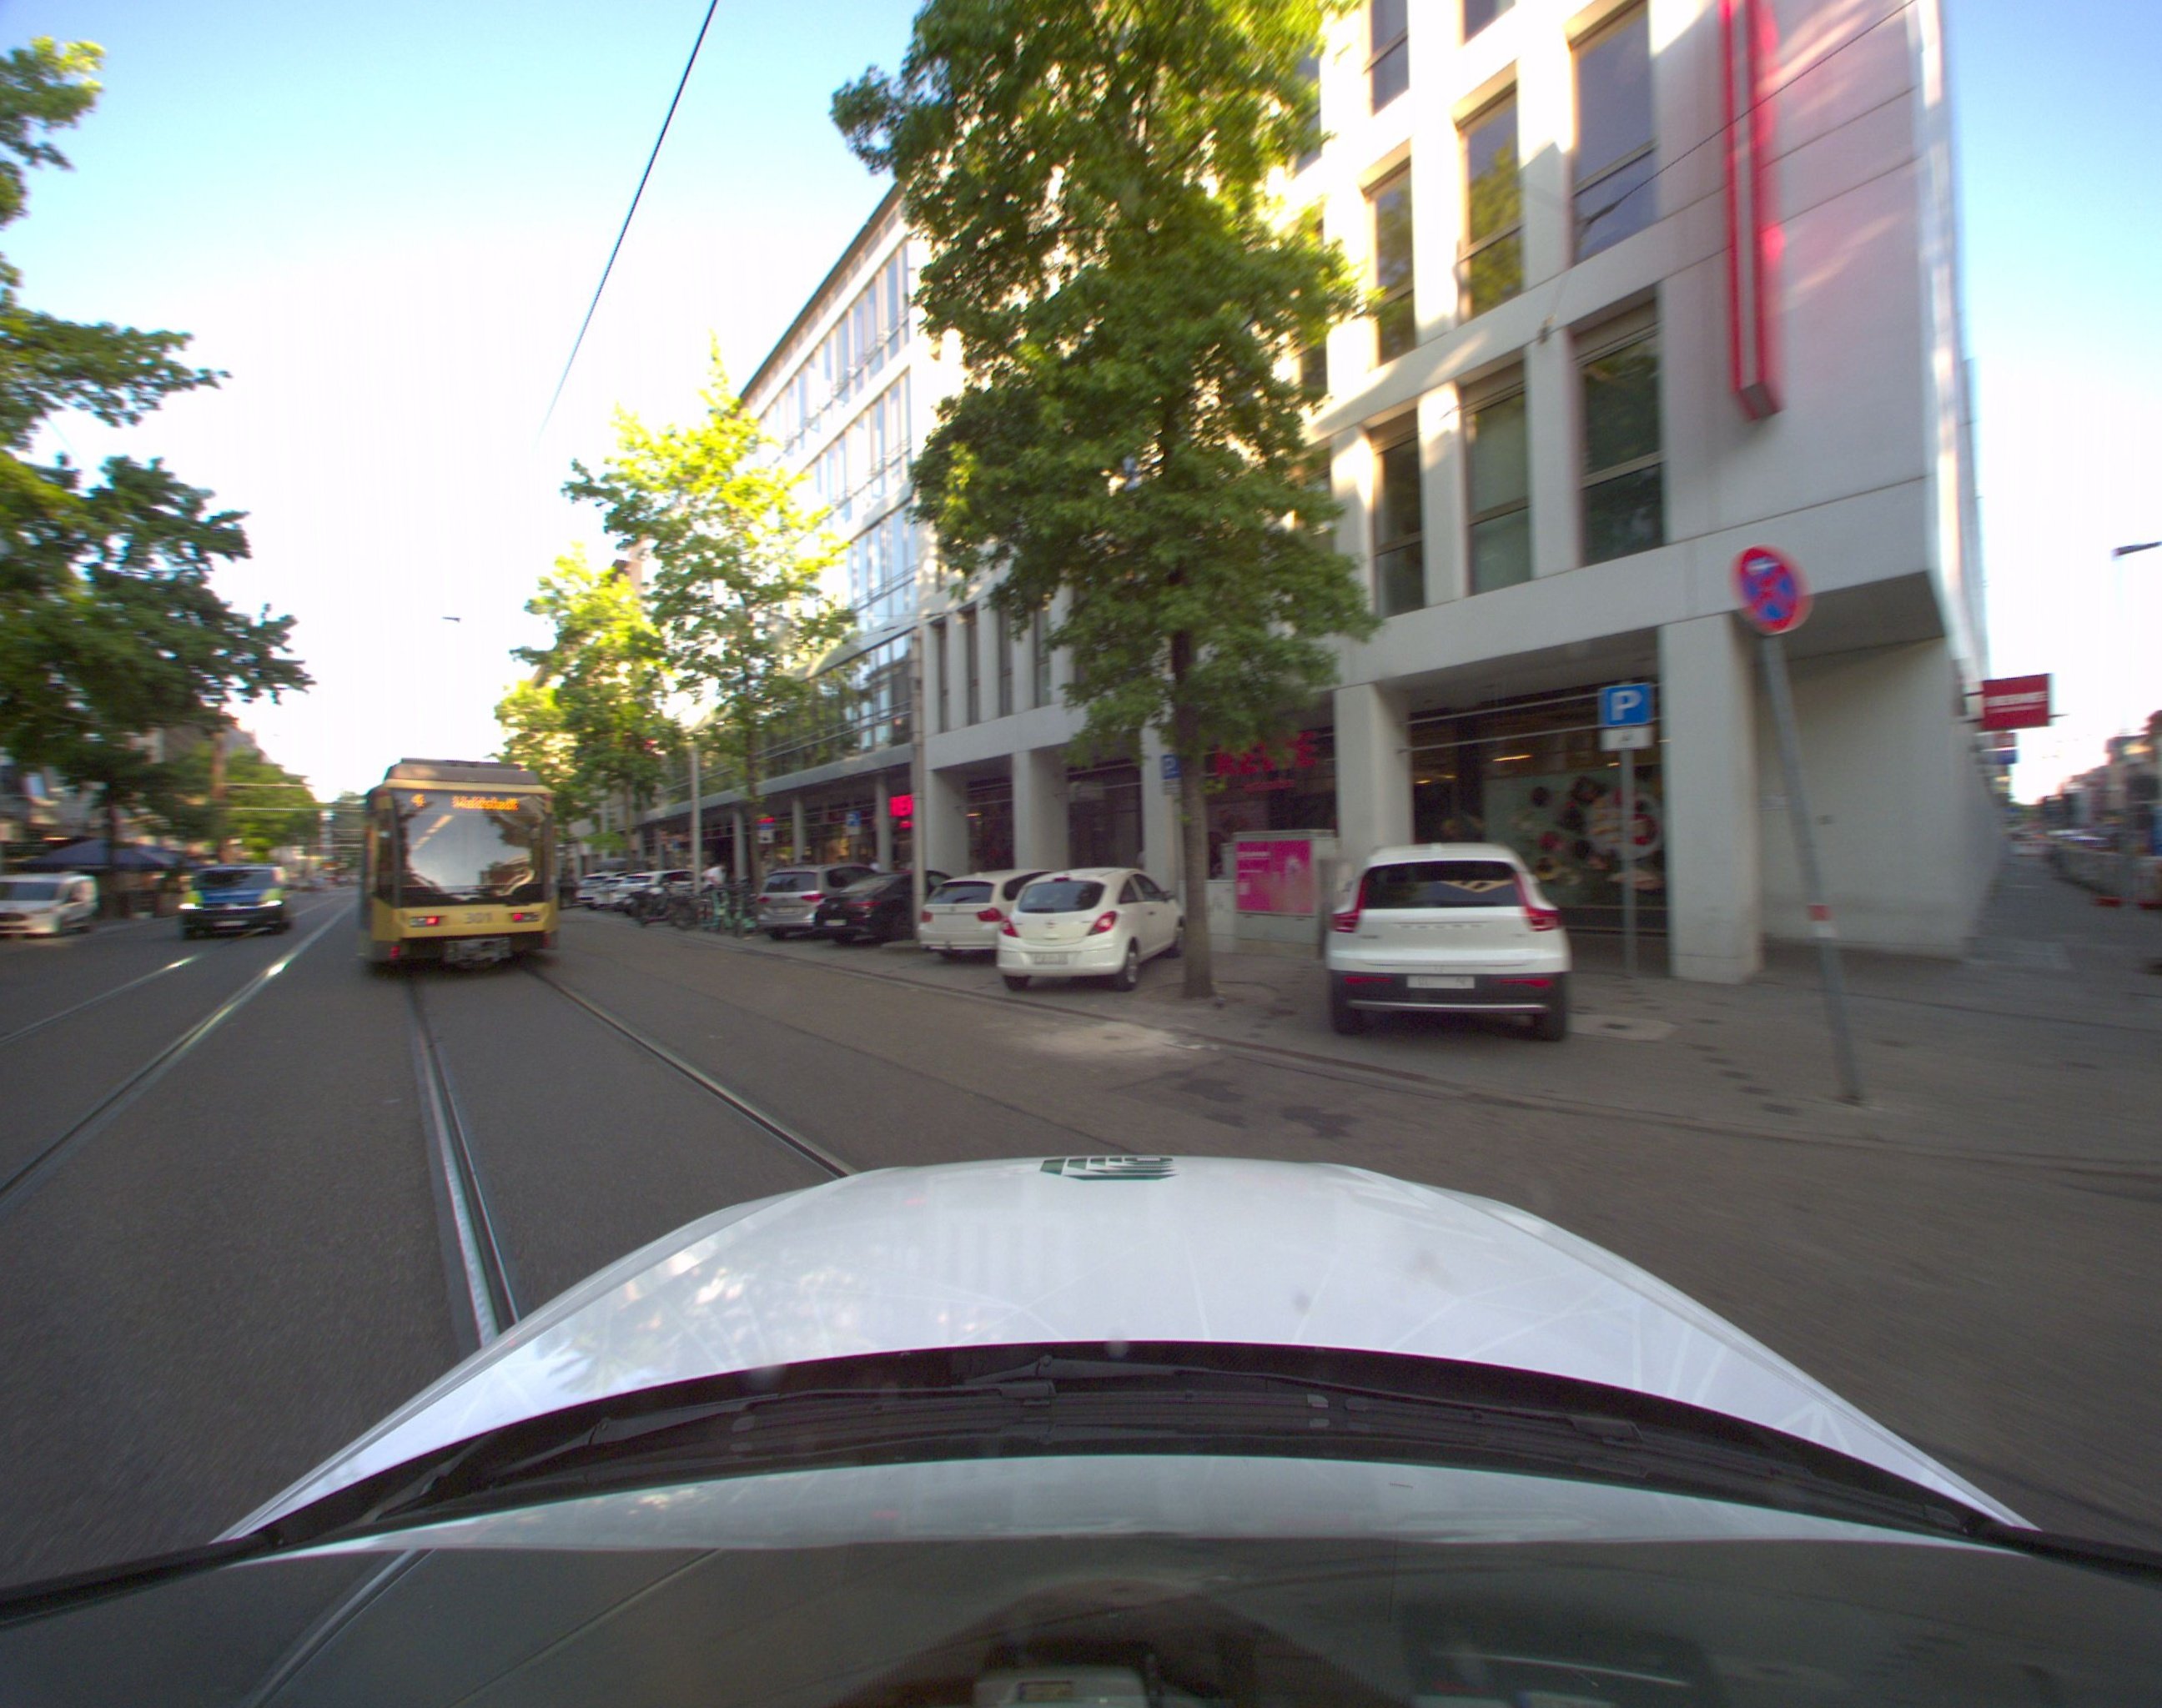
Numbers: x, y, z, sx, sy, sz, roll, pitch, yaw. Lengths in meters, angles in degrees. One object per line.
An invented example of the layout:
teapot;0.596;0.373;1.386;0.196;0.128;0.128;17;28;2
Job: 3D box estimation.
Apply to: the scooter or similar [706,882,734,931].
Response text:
scooter or similar;-9.584;1.363;21.603;0.571;1.205;1.270;-3;1;-27

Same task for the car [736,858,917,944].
car;-5.881;1.019;19.559;1.935;1.639;4.693;-3;1;14

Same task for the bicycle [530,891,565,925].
bicycle;-17.896;1.789;27.303;0.661;1.061;2.032;2;-3;-41

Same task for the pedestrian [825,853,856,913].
pedestrian;-7.550;0.892;25.599;0.663;1.812;0.709;-3;1;-37

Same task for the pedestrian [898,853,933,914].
pedestrian;-4.880;0.845;24.033;0.686;1.771;0.796;0;-1;-42

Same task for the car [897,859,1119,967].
car;-1.093;0.932;14.562;1.806;1.422;4.377;-2;1;27

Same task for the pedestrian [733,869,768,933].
pedestrian;-8.794;1.228;21.687;0.793;1.625;0.763;-3;0;-23

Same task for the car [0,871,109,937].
car;-30.911;1.453;24.175;1.809;1.818;4.463;2;-3;-39

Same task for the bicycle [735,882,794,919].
bicycle;-10.431;1.508;26.909;0.815;1.094;1.842;-2;0;18

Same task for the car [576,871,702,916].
car;-18.191;1.586;33.742;1.841;1.457;4.210;-3;1;26

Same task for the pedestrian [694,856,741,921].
pedestrian;-11.379;1.063;25.531;0.851;1.913;0.958;-1;2;37

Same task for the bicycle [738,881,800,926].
bicycle;-9.202;1.444;24.058;0.495;1.149;1.707;-1;1;33

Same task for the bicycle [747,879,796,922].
bicycle;-9.545;1.420;25.192;0.549;1.189;1.701;-2;1;11

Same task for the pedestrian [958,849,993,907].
pedestrian;-3.172;0.717;24.481;0.686;1.699;0.796;0;-1;-42

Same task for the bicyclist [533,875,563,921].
bicyclist;-17.866;1.460;27.284;0.733;1.527;0.724;2;-4;-41

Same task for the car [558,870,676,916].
car;-20.128;1.652;35.559;1.900;1.637;4.227;-2;1;17

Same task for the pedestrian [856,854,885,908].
pedestrian;-6.343;0.813;24.483;0.763;1.572;0.627;-2;-1;-19

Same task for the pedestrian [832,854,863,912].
pedestrian;-7.310;0.908;25.497;0.734;1.754;0.710;-3;0;-28

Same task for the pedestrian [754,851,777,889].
pedestrian;-12.945;0.668;33.424;0.686;1.548;0.656;0;-3;-42

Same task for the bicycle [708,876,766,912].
bicycle;-12.172;1.399;28.865;0.835;1.117;1.800;-2;0;20

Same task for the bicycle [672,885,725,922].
bicycle;-12.777;1.643;27.240;0.547;1.033;1.605;-2;3;19

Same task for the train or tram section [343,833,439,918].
train or tram section;-32.906;1.034;38.660;3.071;3.524;10.403;1;-2;-42

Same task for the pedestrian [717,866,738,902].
pedestrian;-16.777;1.423;38.640;0.668;1.699;0.796;0;-3;-42

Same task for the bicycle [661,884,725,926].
bicycle;-11.622;1.519;24.464;0.617;1.076;1.842;-2;2;17

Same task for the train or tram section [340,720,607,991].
train or tram section;-11.936;0.163;15.423;3.043;3.524;10.244;0;-2;-42

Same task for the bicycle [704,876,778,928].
bicycle;-9.501;1.327;22.839;0.672;1.273;1.845;-2;1;30

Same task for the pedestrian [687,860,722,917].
pedestrian;-12.463;1.141;26.960;0.594;1.812;0.821;-2;2;10

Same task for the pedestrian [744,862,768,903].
pedestrian;-13.805;1.195;34.604;0.686;1.699;0.796;0;-1;-42

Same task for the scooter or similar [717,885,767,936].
scooter or similar;-8.352;1.380;20.116;0.576;1.150;1.402;-1;0;3

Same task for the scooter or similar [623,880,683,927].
scooter or similar;-12.534;1.436;23.851;1.380;1.304;0.699;-2;0;10

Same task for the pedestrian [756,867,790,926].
pedestrian;-8.931;1.226;23.649;0.703;1.624;0.658;-2;0;-6

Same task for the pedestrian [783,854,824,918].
pedestrian;-8.252;0.928;24.263;0.883;1.812;0.935;-2;0;-6

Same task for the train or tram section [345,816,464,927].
train or tram section;-25.834;0.705;30.839;3.030;3.524;10.713;0;-2;-42

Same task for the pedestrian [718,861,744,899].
pedestrian;-17.021;1.250;39.611;0.885;1.782;0.746;-3;1;-42

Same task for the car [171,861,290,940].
car;-23.894;1.236;23.054;2.011;1.977;4.791;0;-1;-42

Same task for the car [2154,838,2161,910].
car;21.937;0.398;15.407;4.173;1.475;1.758;0;-2;-39

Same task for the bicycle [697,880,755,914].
bicycle;-13.143;1.585;30.232;0.924;1.117;1.760;-2;0;25

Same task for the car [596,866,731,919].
car;-15.298;1.368;30.141;1.856;1.563;4.364;-3;1;16

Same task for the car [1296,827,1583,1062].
car;3.573;0.642;8.220;1.928;1.672;4.298;-4;1;24

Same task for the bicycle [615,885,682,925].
bicycle;-13.502;1.567;25.479;0.798;1.117;1.758;-2;0;17

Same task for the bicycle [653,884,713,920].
bicycle;-14.015;1.684;28.737;0.909;1.117;1.757;-2;0;15

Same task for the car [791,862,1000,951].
car;-3.788;1.038;17.506;1.930;1.422;4.377;-3;1;27

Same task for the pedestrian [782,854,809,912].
pedestrian;-9.123;0.914;26.033;0.658;1.812;0.714;-3;0;-11

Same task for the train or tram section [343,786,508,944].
train or tram section;-18.809;0.384;23.045;3.034;3.524;10.275;0;-2;-42

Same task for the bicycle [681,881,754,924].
bicycle;-11.326;1.484;25.448;0.689;1.148;2.013;-1;2;31

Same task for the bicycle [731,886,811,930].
bicycle;-8.114;1.414;21.332;1.860;1.076;0.633;-2;1;13

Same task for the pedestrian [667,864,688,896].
pedestrian;-23.661;1.504;47.754;0.840;1.836;0.932;-2;1;-41

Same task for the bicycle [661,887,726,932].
bicycle;-10.699;1.509;22.526;0.488;1.076;1.757;-2;1;19

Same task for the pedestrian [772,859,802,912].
pedestrian;-10.411;1.113;28.841;0.789;1.812;0.658;-2;0;-6

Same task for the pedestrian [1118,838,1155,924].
pedestrian;1.170;0.552;17.089;0.675;1.771;0.808;0;0;11

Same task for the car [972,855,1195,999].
car;0.262;0.884;11.488;1.775;1.501;4.089;-3;1;20

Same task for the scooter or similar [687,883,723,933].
scooter or similar;-9.736;1.378;21.093;0.486;1.222;1.200;-3;0;-40

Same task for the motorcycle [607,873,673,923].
motorcycle;-14.492;1.419;26.845;0.789;1.471;2.209;-2;1;5

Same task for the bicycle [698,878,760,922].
bicycle;-10.294;1.339;23.861;0.472;1.138;1.697;-2;1;29

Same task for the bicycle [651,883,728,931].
bicycle;-10.942;1.461;22.847;0.672;1.130;2.003;-2;1;19

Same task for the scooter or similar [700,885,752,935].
scooter or similar;-8.983;1.397;20.653;0.494;1.182;1.337;-2;0;12

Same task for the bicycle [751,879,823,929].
bicycle;-7.965;1.342;22.120;1.654;1.250;0.640;-2;1;-6
